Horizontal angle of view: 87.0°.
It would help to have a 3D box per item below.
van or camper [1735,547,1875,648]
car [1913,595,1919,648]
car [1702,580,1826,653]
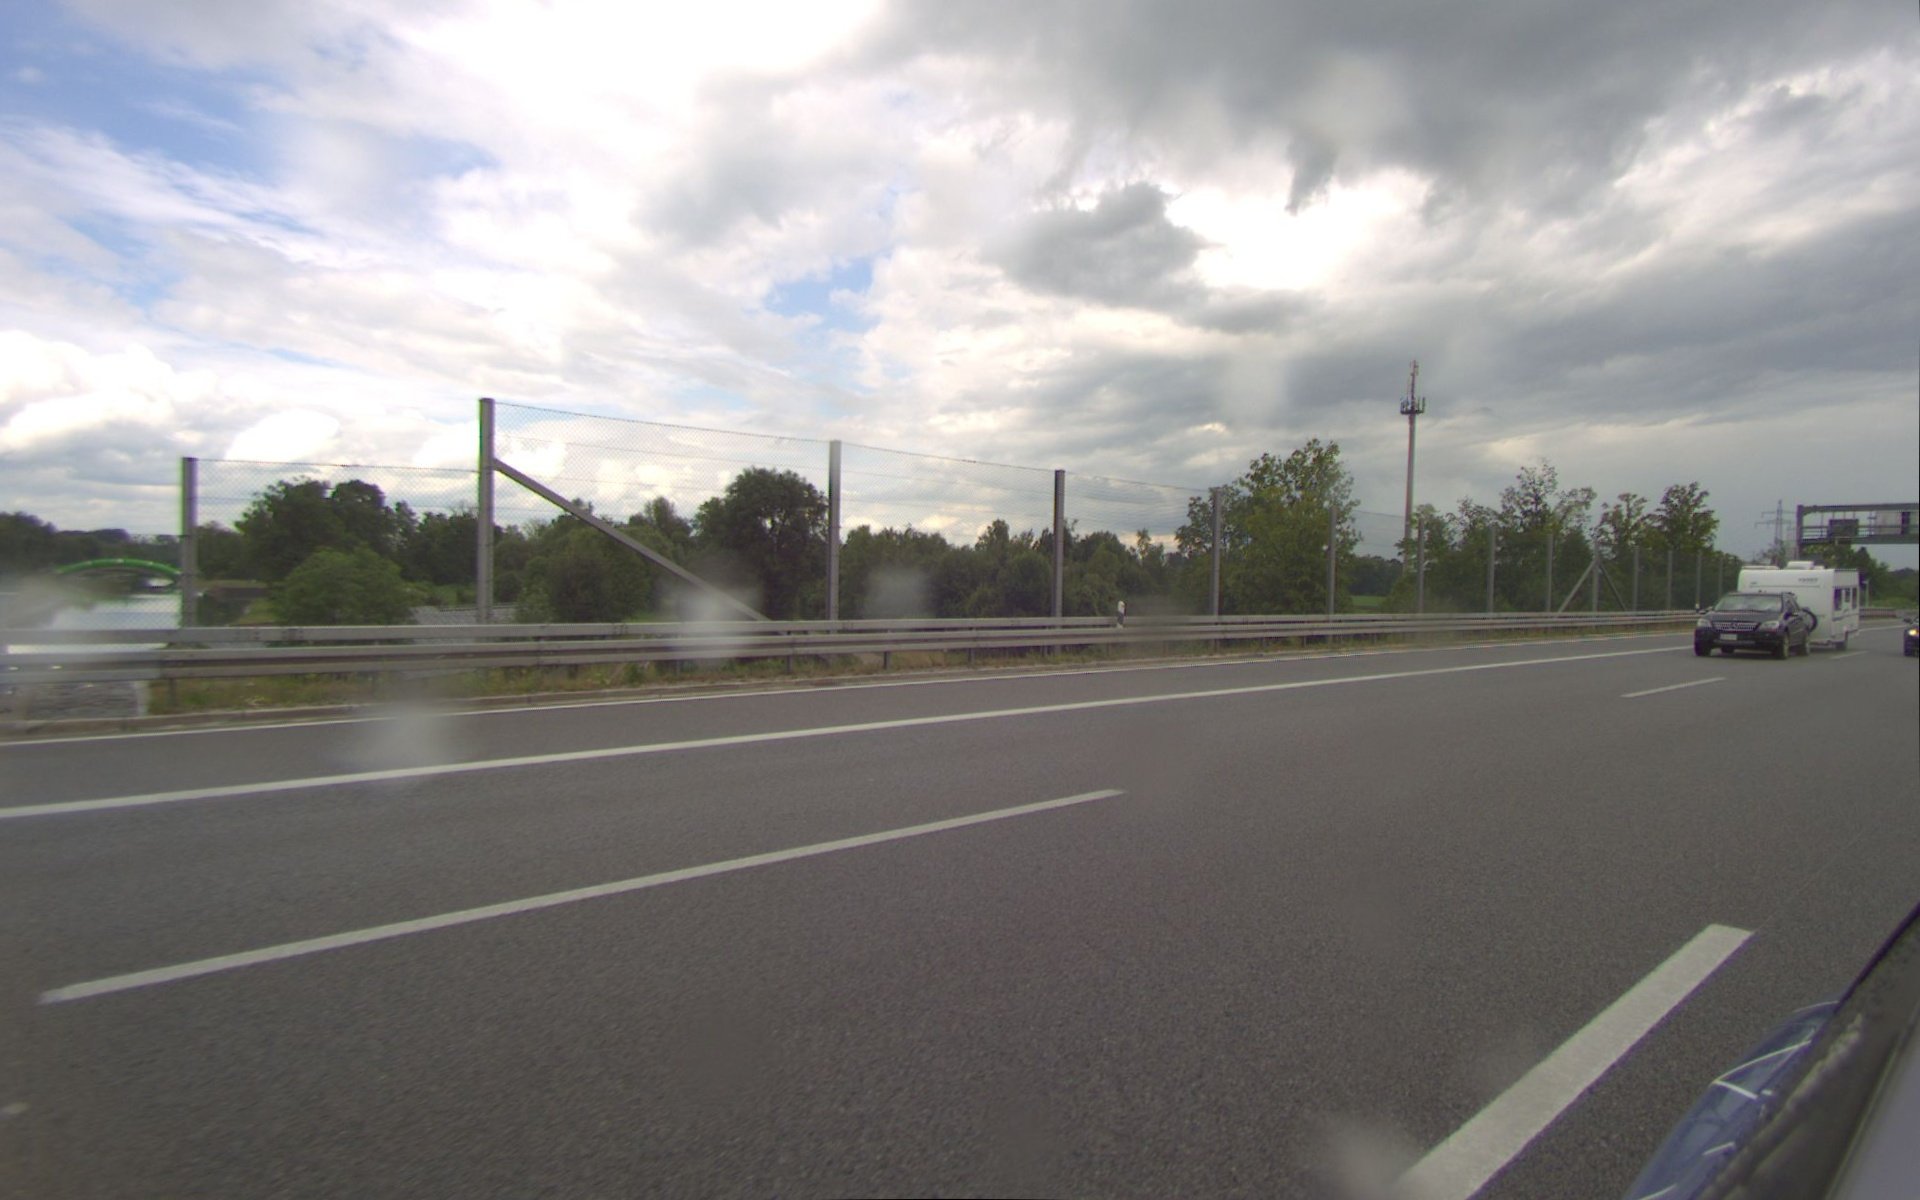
[{"bbox_3d":[26.084,-0.067,31.120,7.085,2.773,2.387,0,0,-42],"label":"van or camper"},{"bbox_3d":[28.204,0.617,28.489,3.931,1.464,1.716,0,1,-42],"label":"car"},{"bbox_3d":[21.734,0.411,27.307,4.425,1.798,1.923,0,0,-42],"label":"car"}]
